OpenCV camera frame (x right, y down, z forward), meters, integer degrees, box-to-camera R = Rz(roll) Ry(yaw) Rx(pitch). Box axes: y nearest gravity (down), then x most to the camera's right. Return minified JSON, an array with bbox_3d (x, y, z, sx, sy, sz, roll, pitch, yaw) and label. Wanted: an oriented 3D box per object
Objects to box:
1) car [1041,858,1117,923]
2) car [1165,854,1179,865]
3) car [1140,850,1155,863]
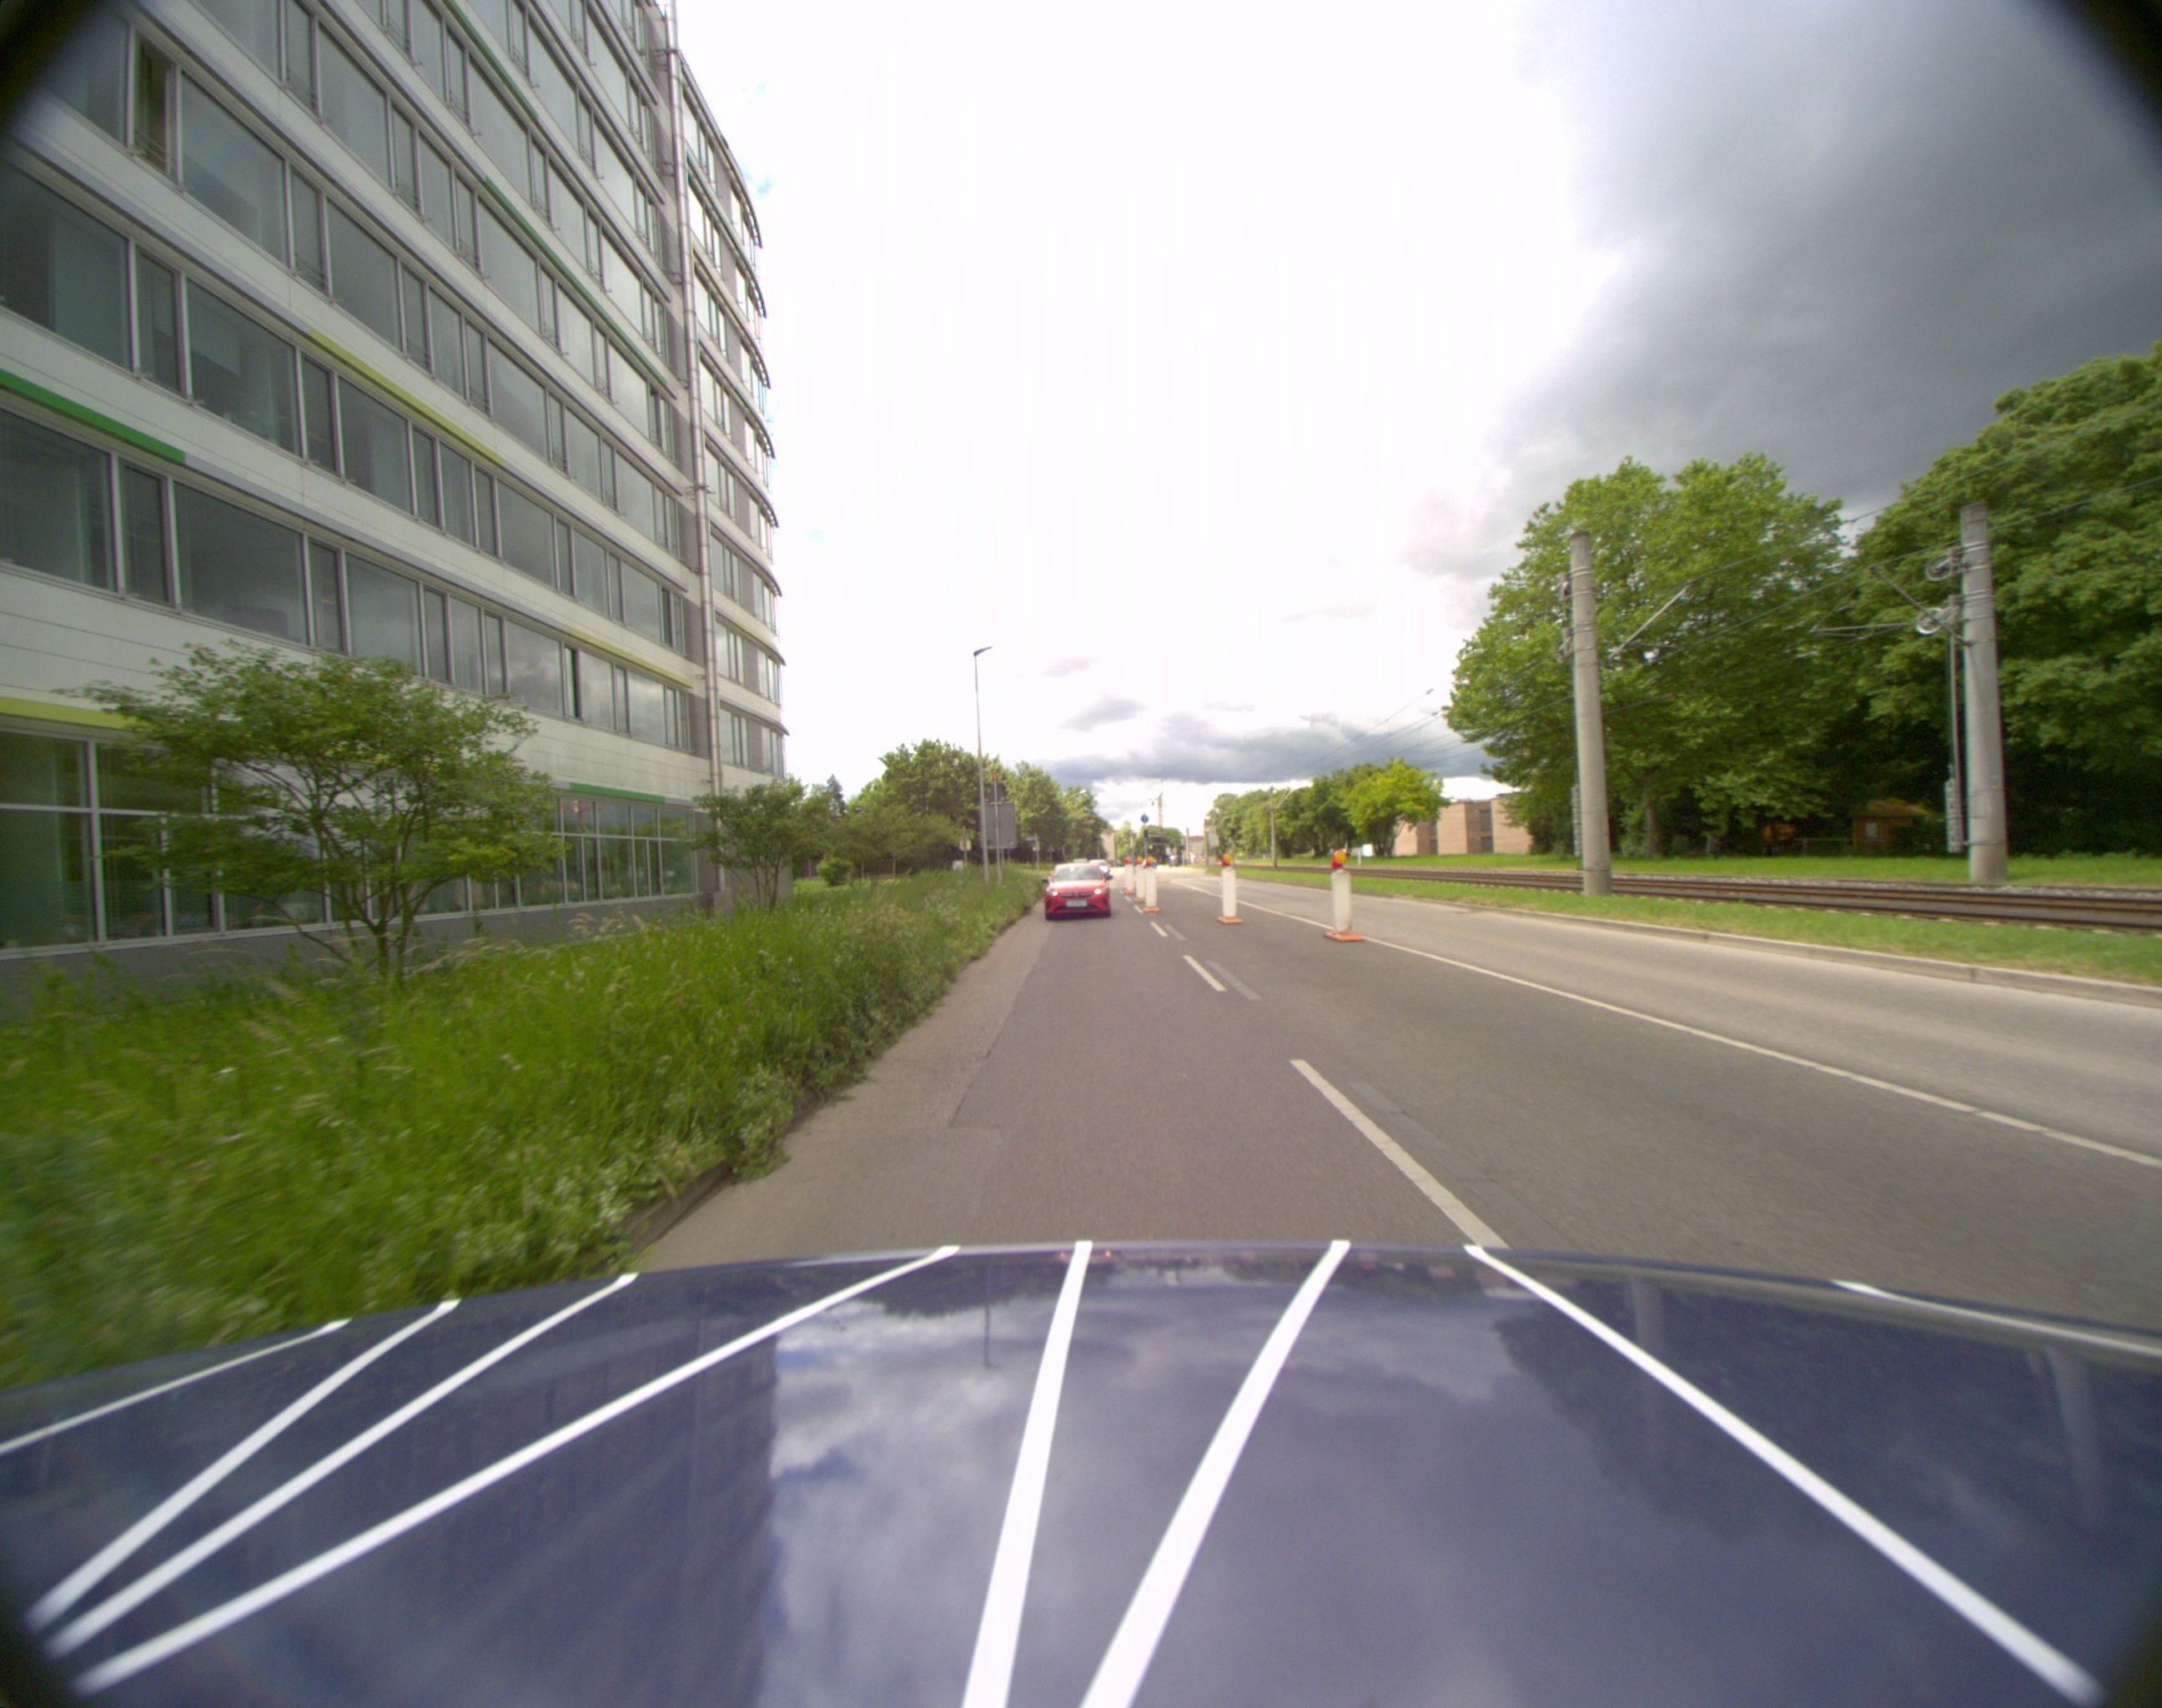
[{"bbox_3d":[0.053,0.928,21.375,1.789,1.453,4.853,-3,0,3],"label":"car"},{"bbox_3d":[14.381,0.828,120.110,1.998,1.650,4.523,-3,0,5],"label":"car"},{"bbox_3d":[9.598,0.433,109.640,1.864,1.600,4.611,-2,-3,3],"label":"car"}]
